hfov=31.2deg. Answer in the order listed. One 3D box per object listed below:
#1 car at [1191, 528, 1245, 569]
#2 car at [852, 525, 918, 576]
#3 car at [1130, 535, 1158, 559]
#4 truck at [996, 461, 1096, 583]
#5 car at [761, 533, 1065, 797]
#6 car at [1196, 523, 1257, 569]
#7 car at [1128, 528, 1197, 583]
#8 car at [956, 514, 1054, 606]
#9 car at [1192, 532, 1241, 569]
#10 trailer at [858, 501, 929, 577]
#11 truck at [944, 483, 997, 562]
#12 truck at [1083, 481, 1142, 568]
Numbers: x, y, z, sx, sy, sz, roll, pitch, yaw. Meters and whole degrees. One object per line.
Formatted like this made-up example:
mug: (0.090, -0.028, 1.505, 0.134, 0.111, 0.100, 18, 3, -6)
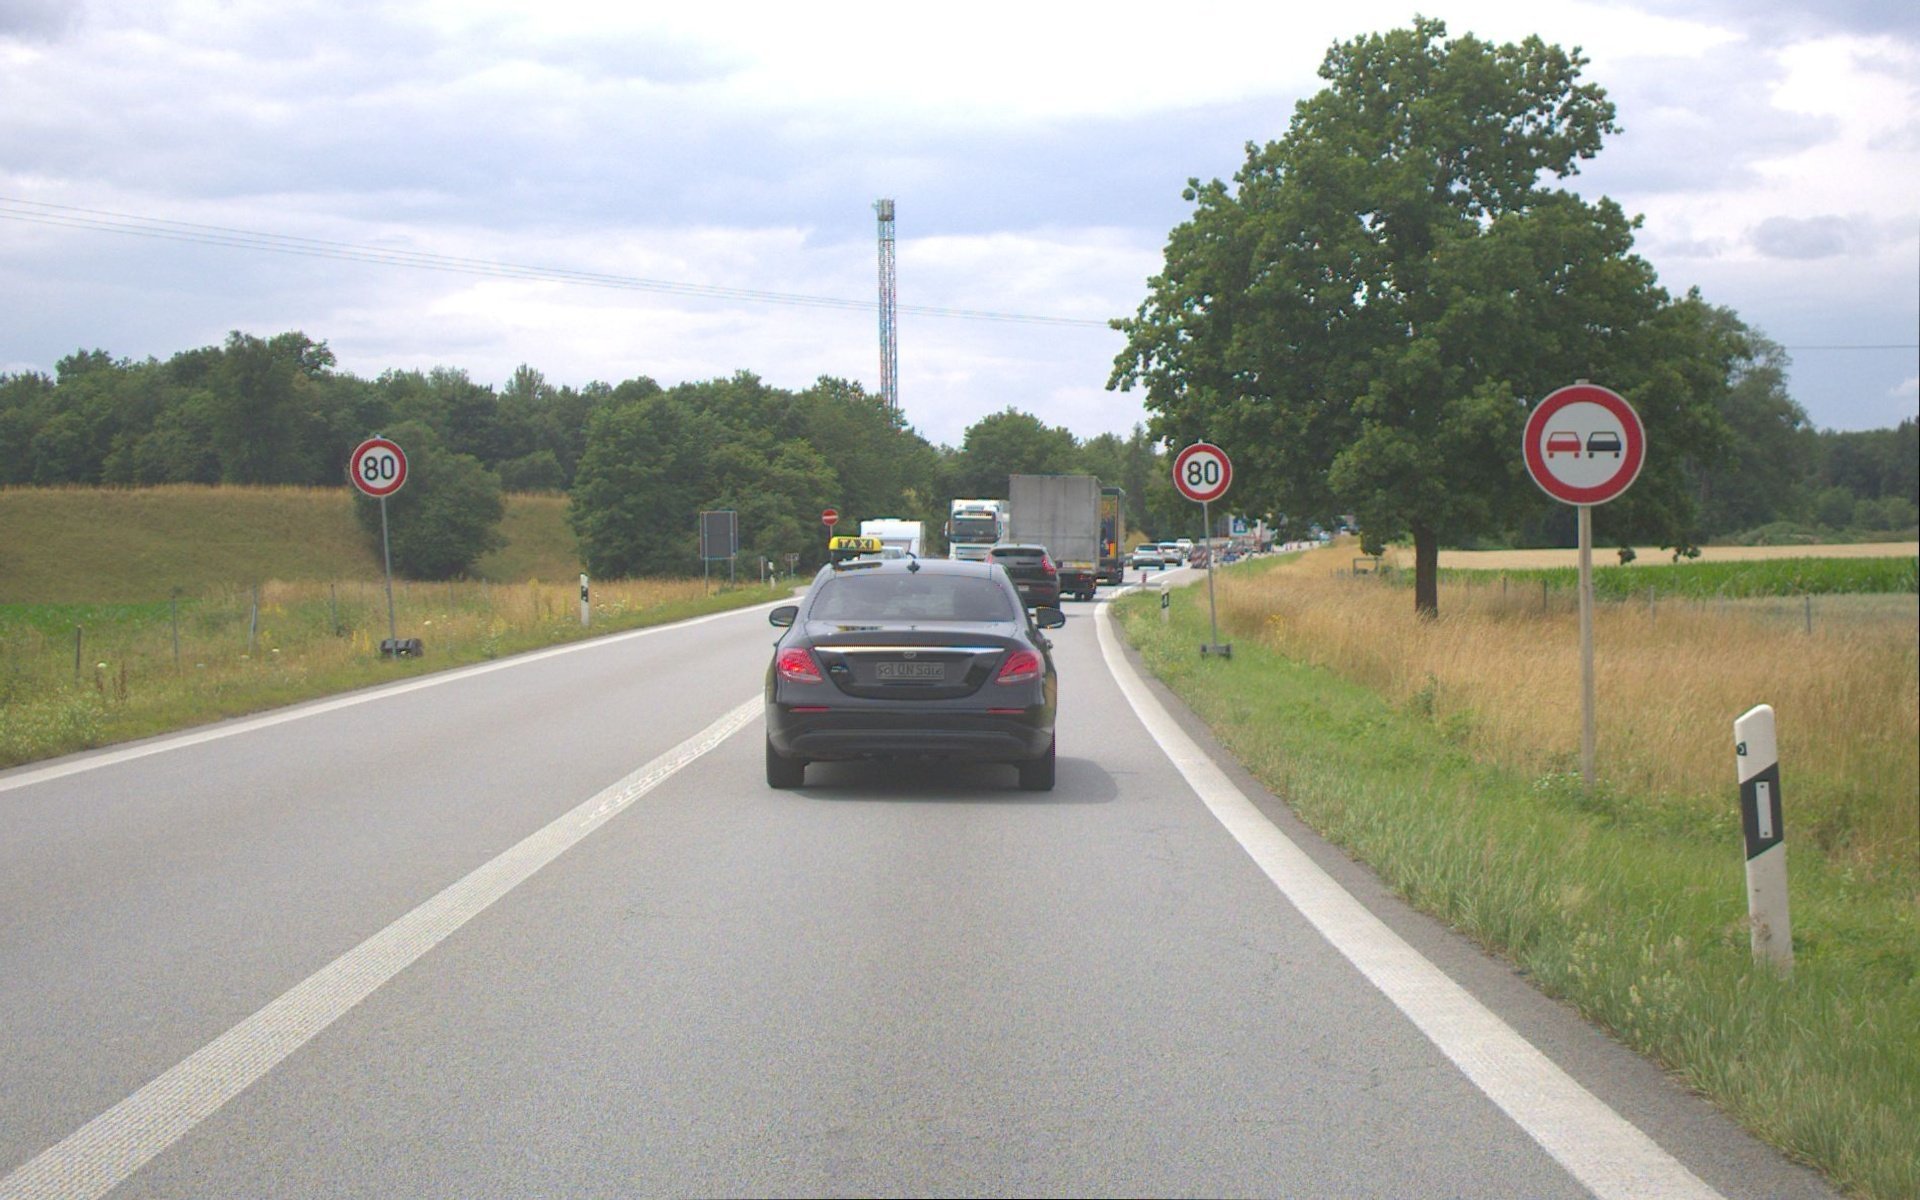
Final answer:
car: (10.788, -2.147, 143.972, 1.795, 1.657, 4.000, 1, 1, -2)
car: (-2.518, -1.649, 116.080, 2.006, 1.652, 4.327, 1, 1, 1)
car: (11.387, -3.286, 213.180, 1.649, 1.391, 3.706, 1, 1, 3)
truck: (2.612, -2.301, 103.056, 2.587, 3.512, 4.812, 1, 1, 5)
car: (-0.353, 0.370, 22.700, 1.795, 1.554, 4.000, 1, 1, -2)
car: (9.994, -2.012, 129.006, 1.795, 1.657, 4.000, 1, 1, -2)
car: (6.434, -1.413, 109.529, 1.795, 1.657, 4.000, 1, 1, -2)
car: (0.993, -0.911, 78.295, 1.993, 2.007, 4.000, 1, 1, -2)
car: (11.733, -2.258, 157.378, 1.795, 1.657, 4.000, 1, 1, -2)
trailer: (-2.315, -2.144, 121.362, 2.182, 2.566, 6.243, 1, 1, 1)
truck: (0.562, -3.954, 175.183, 2.490, 3.982, 5.204, 0, 1, 2)
truck: (6.374, -3.141, 144.106, 1.993, 3.513, 4.593, 1, 1, -2)
